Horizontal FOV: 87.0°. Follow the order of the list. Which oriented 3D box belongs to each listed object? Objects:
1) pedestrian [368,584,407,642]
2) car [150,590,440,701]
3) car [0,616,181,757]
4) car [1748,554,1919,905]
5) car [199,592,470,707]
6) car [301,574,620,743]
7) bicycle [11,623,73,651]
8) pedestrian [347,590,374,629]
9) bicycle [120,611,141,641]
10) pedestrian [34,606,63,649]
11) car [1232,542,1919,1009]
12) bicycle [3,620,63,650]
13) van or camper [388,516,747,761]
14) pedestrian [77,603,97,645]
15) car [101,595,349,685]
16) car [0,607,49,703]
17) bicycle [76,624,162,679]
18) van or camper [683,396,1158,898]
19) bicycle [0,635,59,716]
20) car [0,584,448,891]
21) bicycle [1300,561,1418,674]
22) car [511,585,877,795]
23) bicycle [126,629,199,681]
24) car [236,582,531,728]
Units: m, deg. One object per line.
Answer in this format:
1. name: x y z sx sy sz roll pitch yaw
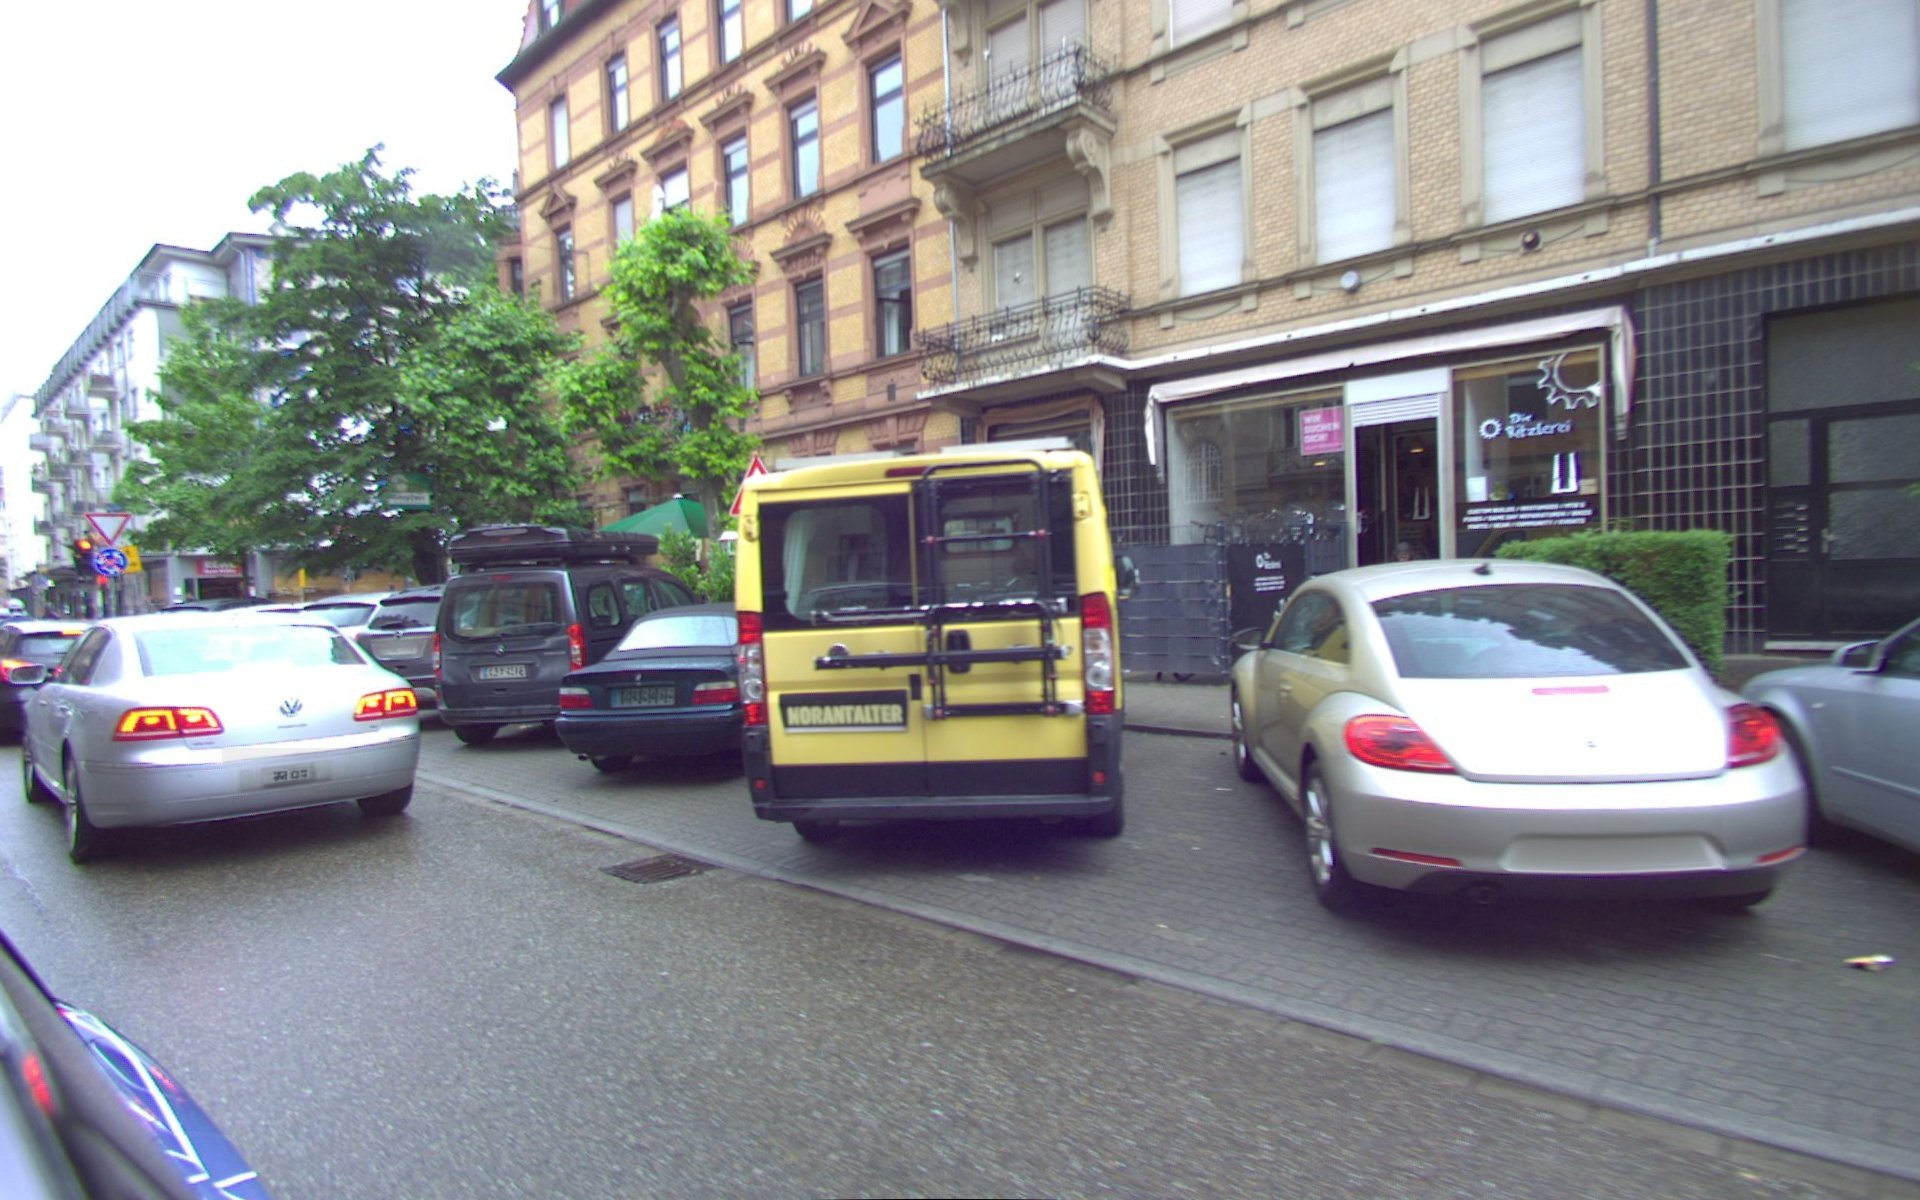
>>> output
1. pedestrian: -20.483 0.448 36.222 0.929 2.028 0.866 -3 1 -13
2. car: -12.428 0.750 19.409 1.977 1.574 4.716 -4 2 7
3. car: -11.614 0.986 12.976 4.135 1.505 1.777 -1 0 41
4. car: 4.649 0.535 3.254 1.766 1.446 3.984 -2 1 13
5. car: -10.572 0.755 17.537 1.779 1.504 4.132 -1 4 6
6. car: -6.185 0.599 13.168 1.779 1.674 4.133 -1 4 5
7. bicycle: -41.017 1.638 45.247 0.658 1.041 1.878 -3 3 27
8. pedestrian: -25.458 0.389 42.987 0.786 1.627 0.606 -3 2 -13
9. bicycle: -39.914 1.245 48.709 2.024 1.383 0.444 -2 3 44
10. pedestrian: -40.952 1.231 45.464 0.850 1.862 0.770 -3 1 -40
11. car: 2.618 0.540 5.335 1.942 1.506 3.906 -2 1 11
12. bicycle: -43.892 1.624 47.920 1.993 1.204 0.551 -7 4 -43
13. van or camper: -4.092 0.247 11.434 1.915 2.255 4.074 -1 4 9
14. pedestrian: -39.241 1.077 45.475 0.595 1.862 0.770 -3 1 -40
15. car: -16.051 0.800 22.457 1.975 1.575 4.452 -1 3 5
16. car: -18.886 1.028 19.233 5.007 1.672 1.838 -2 0 42
17. bicycle: -19.032 1.167 22.896 1.666 1.152 0.585 -2 2 14
18. van or camper: 0.133 0.163 7.135 2.160 2.284 4.715 -3 2 9
19. bicycle: -15.169 1.192 16.223 2.268 1.189 0.762 -3 -1 40
20. car: -5.560 0.782 7.359 4.583 1.505 1.776 -3 0 43
21. bicycle: 4.577 0.169 11.523 0.631 1.183 2.017 -1 0 39
22. car: -2.153 0.698 9.408 1.807 1.506 3.988 -2 -1 10
23. bicycle: -18.370 1.263 23.316 1.667 1.152 0.397 -2 2 17
24. car: -8.457 0.695 15.369 1.779 1.674 4.133 -2 3 5
